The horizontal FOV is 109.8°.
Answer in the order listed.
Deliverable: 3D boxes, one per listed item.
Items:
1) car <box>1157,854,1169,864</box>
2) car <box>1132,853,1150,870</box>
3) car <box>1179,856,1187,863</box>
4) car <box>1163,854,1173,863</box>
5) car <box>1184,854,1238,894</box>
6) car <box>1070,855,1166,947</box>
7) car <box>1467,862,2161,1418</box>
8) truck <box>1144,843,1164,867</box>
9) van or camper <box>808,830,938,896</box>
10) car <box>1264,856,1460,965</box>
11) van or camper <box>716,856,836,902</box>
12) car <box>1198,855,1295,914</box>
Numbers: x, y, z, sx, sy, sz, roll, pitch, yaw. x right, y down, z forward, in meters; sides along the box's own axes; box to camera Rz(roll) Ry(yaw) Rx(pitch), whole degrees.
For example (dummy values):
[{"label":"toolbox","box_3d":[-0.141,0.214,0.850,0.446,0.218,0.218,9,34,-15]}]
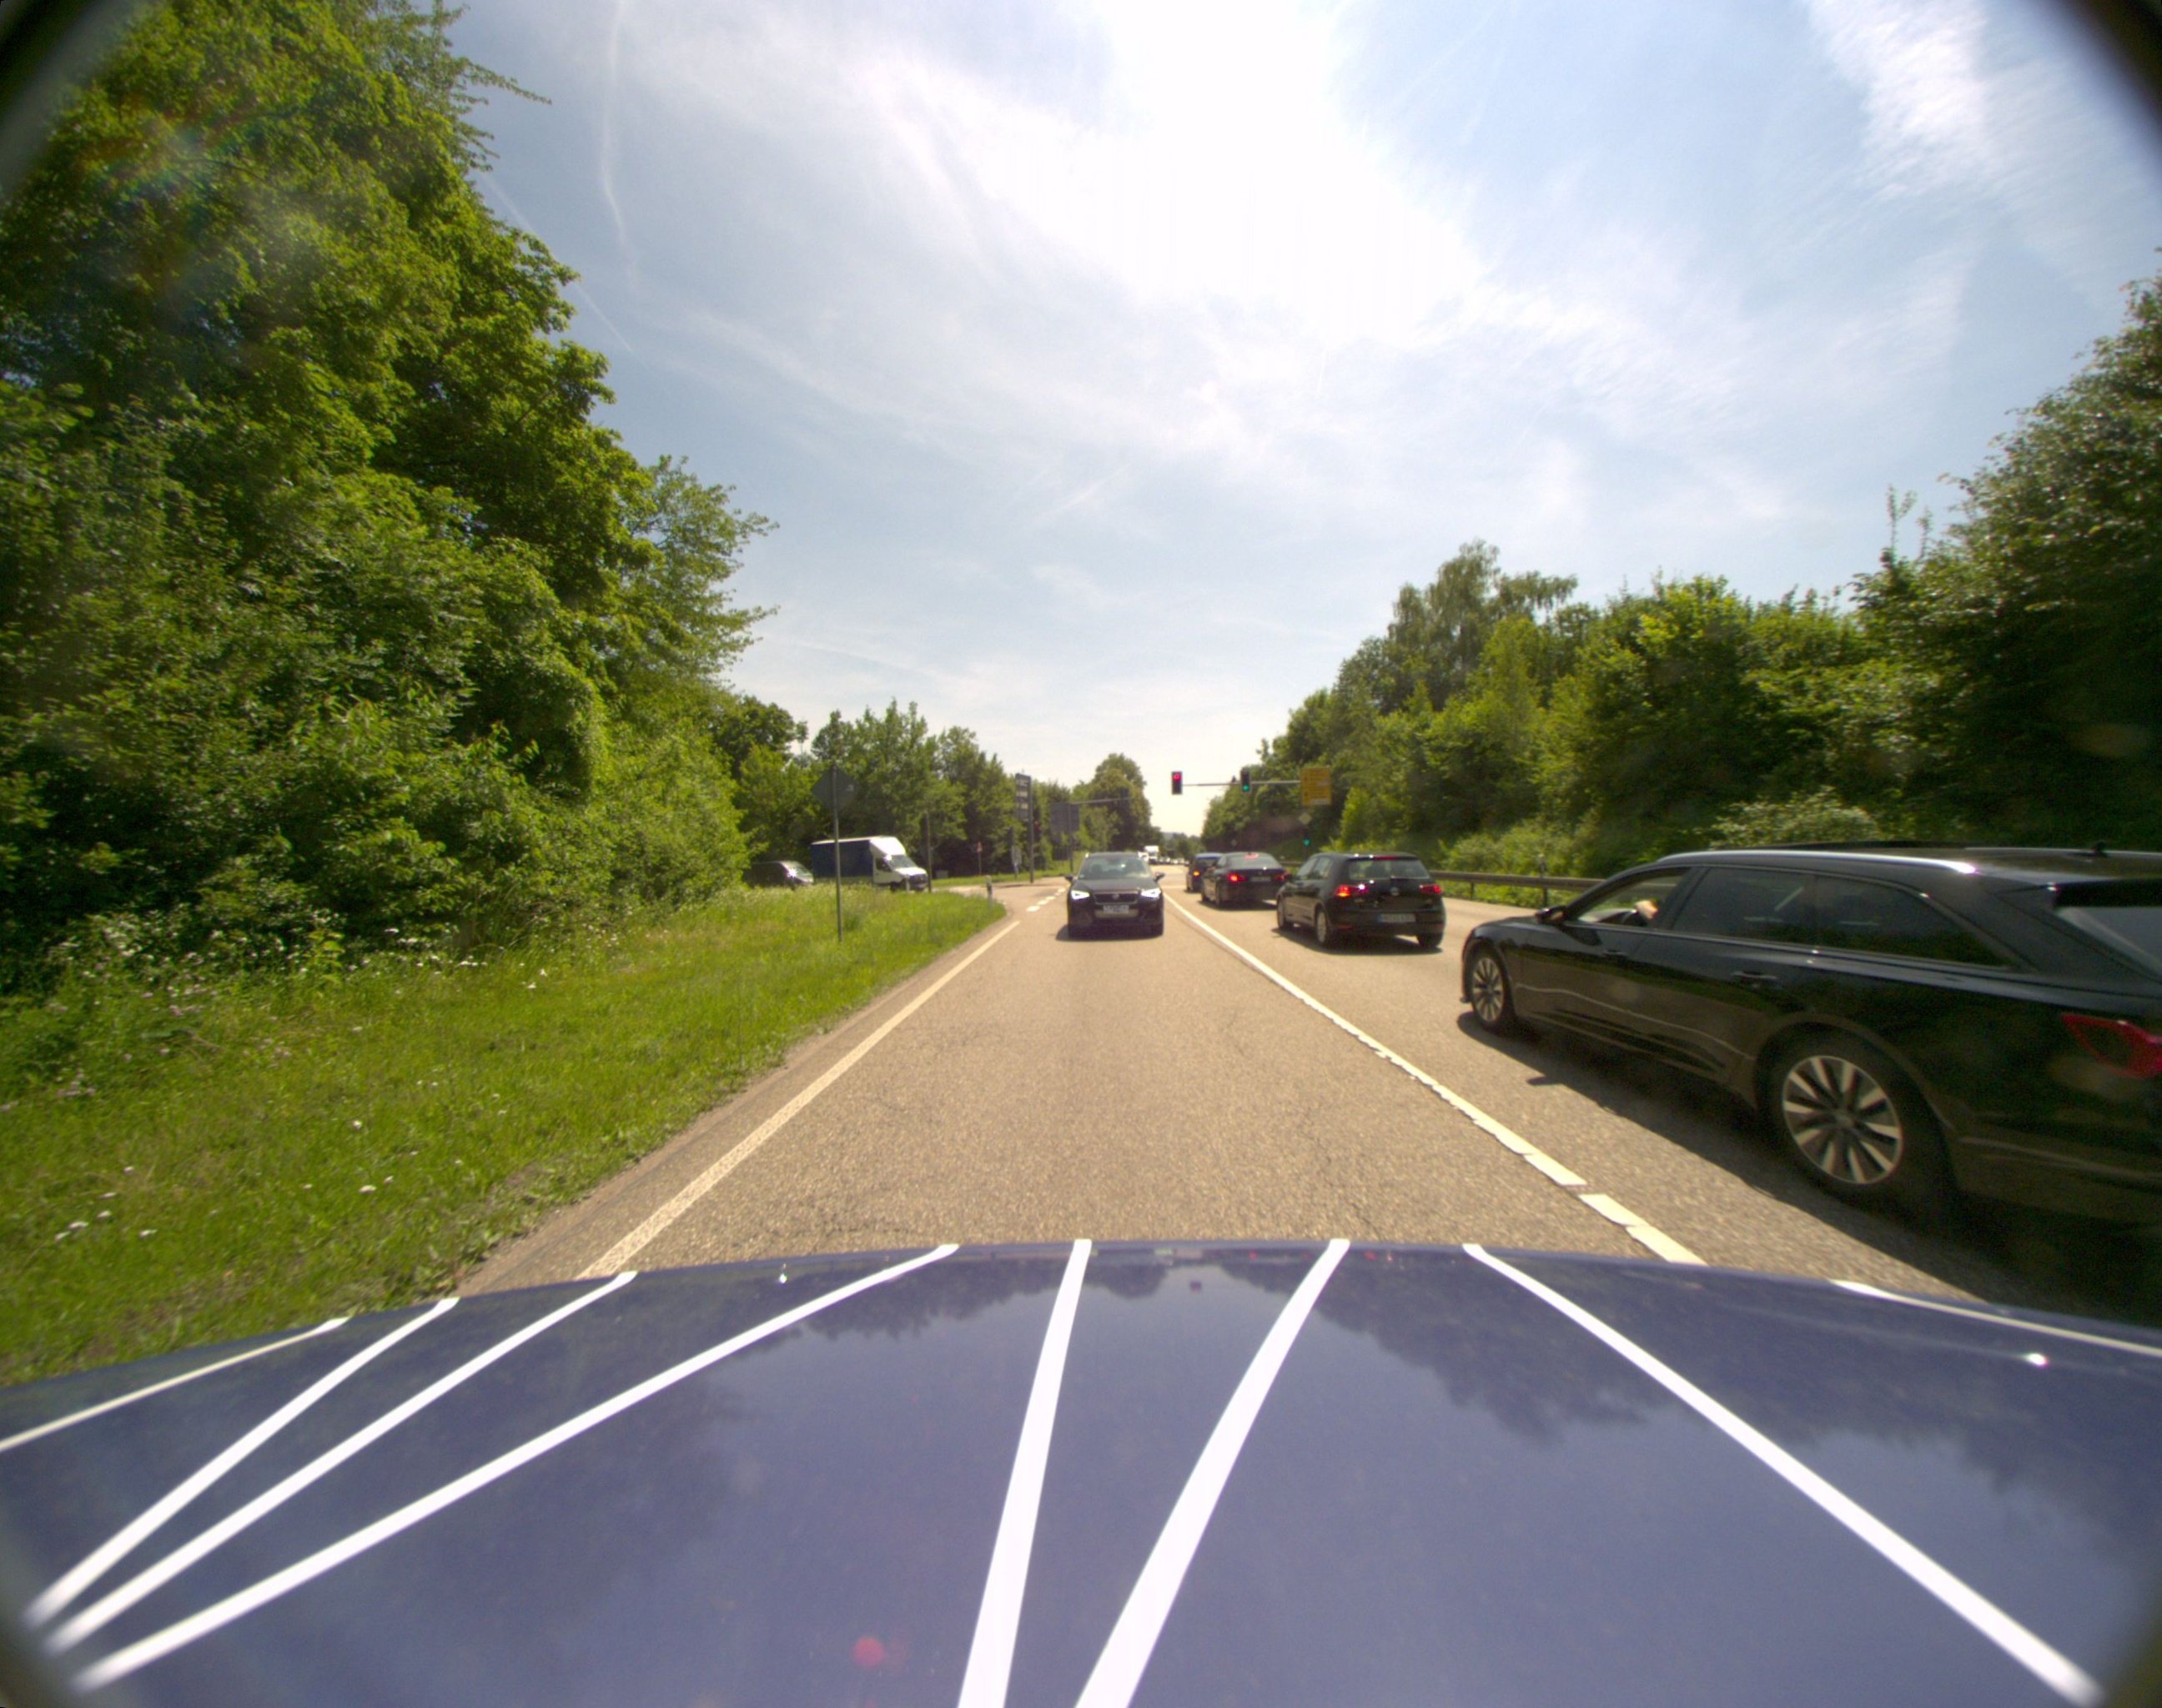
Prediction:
[{"label":"car","box_3d":[15.421,0.928,142.748,1.997,1.756,4.002,-2,0,7]},{"label":"car","box_3d":[7.415,0.933,94.009,1.997,2.002,4.002,-3,0,6]},{"label":"car","box_3d":[28.010,1.600,208.559,1.997,1.756,4.002,-2,0,7]},{"label":"car","box_3d":[18.152,0.962,158.110,1.997,1.756,4.002,-2,0,7]},{"label":"car","box_3d":[4.926,0.720,29.237,1.570,1.431,3.771,-1,0,3]},{"label":"car","box_3d":[0.732,0.801,14.942,1.626,1.535,4.000,0,1,3]},{"label":"car","box_3d":[3.970,0.818,3.969,1.808,1.445,4.387,-1,0,2]},{"label":"truck","box_3d":[12.393,0.119,127.956,2.838,3.795,8.454,-2,1,9]},{"label":"van or camper","box_3d":[-11.405,0.533,41.426,7.235,3.193,2.108,-3,1,29]},{"label":"car","box_3d":[4.381,0.788,12.556,1.686,1.406,4.181,-2,1,0]},{"label":"van or camper","box_3d":[-19.770,1.622,49.261,7.221,2.462,2.413,-4,-1,19]},{"label":"car","box_3d":[4.469,0.773,21.193,1.786,1.438,4.641,-1,0,2]}]
